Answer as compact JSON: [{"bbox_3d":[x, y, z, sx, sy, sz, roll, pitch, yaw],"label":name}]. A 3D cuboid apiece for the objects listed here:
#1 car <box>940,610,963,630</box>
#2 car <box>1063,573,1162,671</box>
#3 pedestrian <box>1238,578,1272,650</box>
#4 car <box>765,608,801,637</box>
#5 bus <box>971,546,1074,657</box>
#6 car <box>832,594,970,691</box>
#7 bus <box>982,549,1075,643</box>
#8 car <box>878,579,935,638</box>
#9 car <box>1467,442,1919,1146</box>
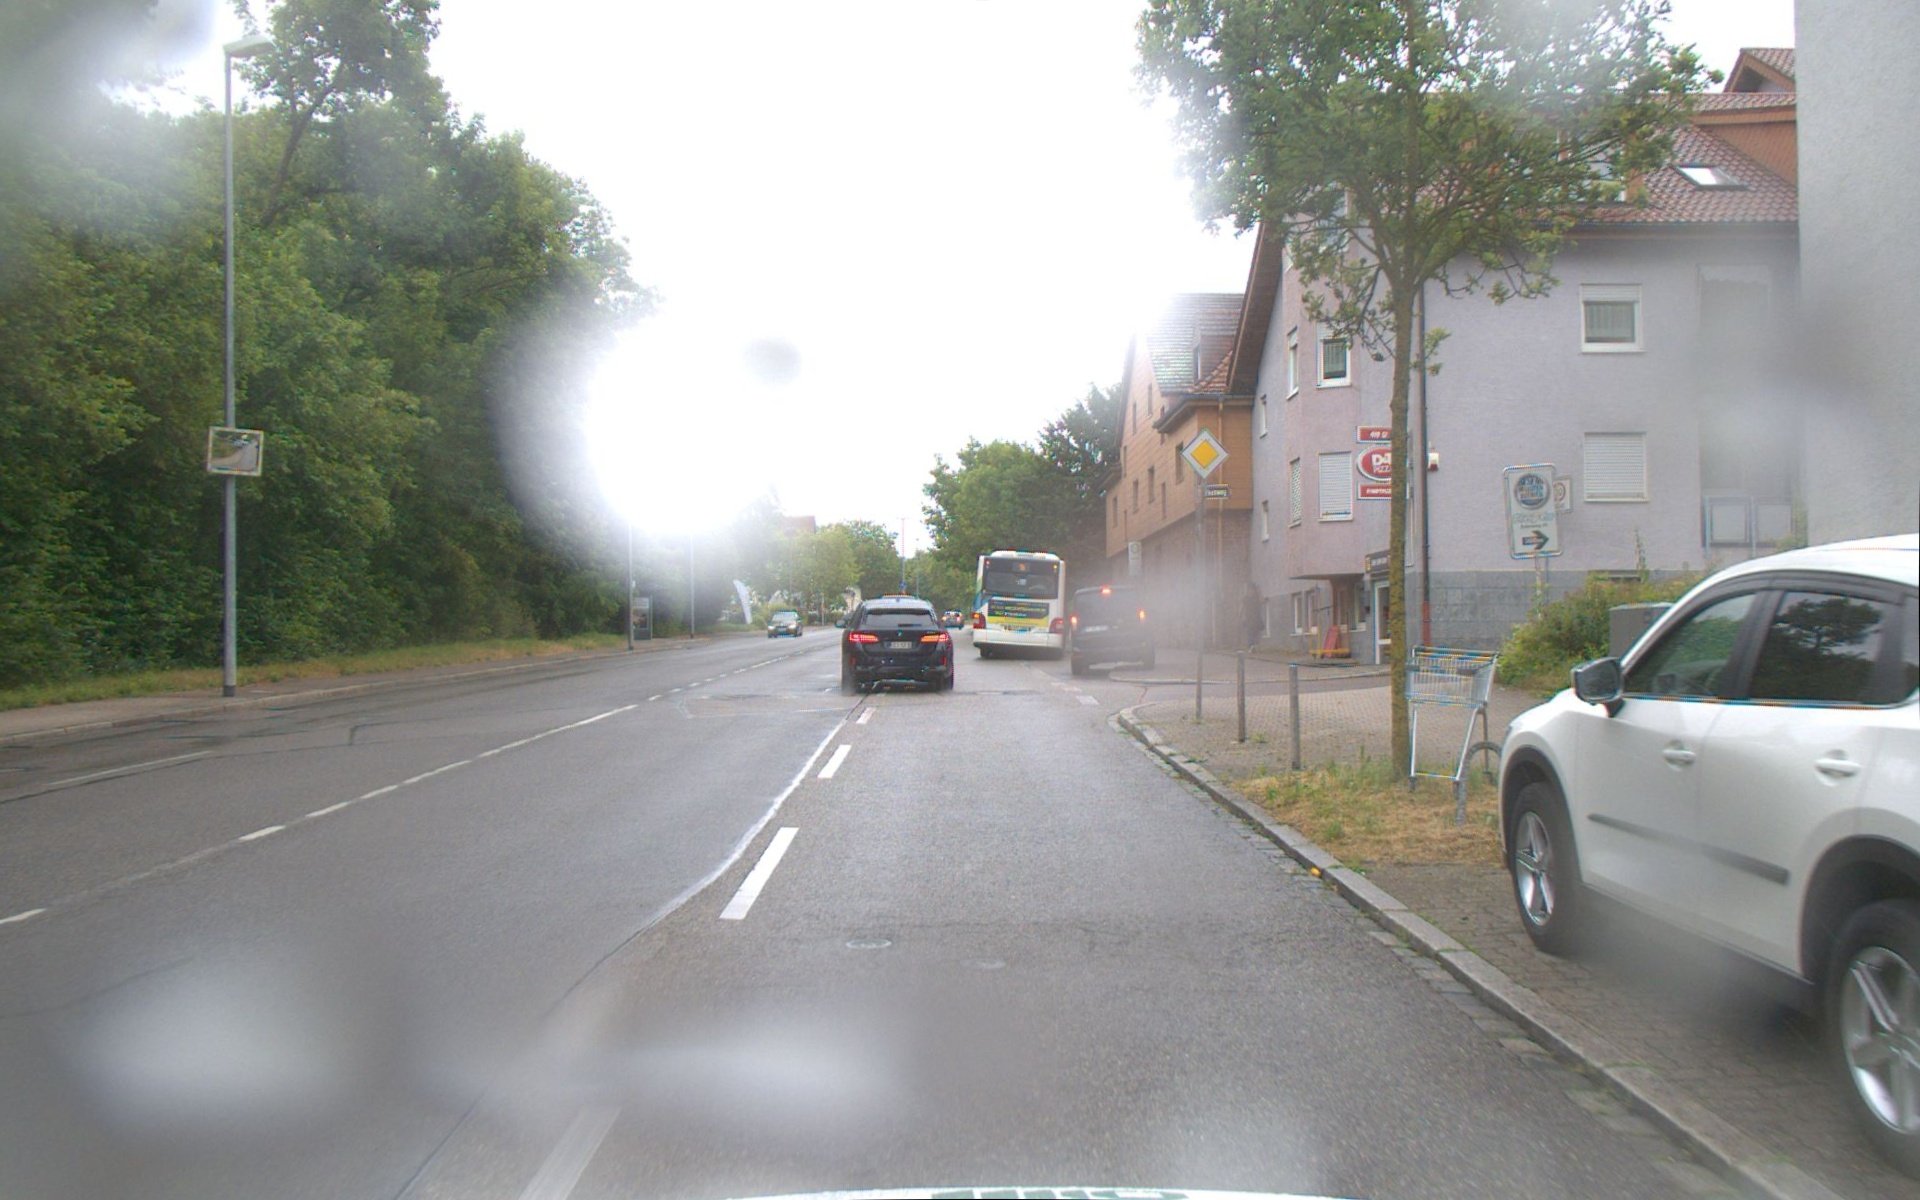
[{"bbox_3d":[-0.706,1.651,139.821,1.828,1.545,3.999,-1,1,-2],"label":"car"},{"bbox_3d":[3.487,0.478,37.157,1.886,1.925,4.764,-4,-1,8],"label":"car"},{"bbox_3d":[7.489,0.348,41.982,0.676,1.785,0.669,-2,0,-2],"label":"pedestrian"},{"bbox_3d":[-10.307,1.316,96.670,1.734,1.560,3.999,-2,0,-2],"label":"car"},{"bbox_3d":[1.972,-0.001,48.759,2.568,2.897,8.294,-2,0,5],"label":"bus"},{"bbox_3d":[-1.089,0.675,28.535,1.956,1.478,3.993,2,0,-8],"label":"car"},{"bbox_3d":[2.257,-0.158,57.546,2.570,2.897,9.792,-2,0,-1],"label":"bus"},{"bbox_3d":[-1.867,0.292,59.122,1.953,2.049,3.999,0,0,-1],"label":"car"},{"bbox_3d":[3.341,0.465,5.674,1.787,1.803,4.541,-2,0,0],"label":"car"}]
